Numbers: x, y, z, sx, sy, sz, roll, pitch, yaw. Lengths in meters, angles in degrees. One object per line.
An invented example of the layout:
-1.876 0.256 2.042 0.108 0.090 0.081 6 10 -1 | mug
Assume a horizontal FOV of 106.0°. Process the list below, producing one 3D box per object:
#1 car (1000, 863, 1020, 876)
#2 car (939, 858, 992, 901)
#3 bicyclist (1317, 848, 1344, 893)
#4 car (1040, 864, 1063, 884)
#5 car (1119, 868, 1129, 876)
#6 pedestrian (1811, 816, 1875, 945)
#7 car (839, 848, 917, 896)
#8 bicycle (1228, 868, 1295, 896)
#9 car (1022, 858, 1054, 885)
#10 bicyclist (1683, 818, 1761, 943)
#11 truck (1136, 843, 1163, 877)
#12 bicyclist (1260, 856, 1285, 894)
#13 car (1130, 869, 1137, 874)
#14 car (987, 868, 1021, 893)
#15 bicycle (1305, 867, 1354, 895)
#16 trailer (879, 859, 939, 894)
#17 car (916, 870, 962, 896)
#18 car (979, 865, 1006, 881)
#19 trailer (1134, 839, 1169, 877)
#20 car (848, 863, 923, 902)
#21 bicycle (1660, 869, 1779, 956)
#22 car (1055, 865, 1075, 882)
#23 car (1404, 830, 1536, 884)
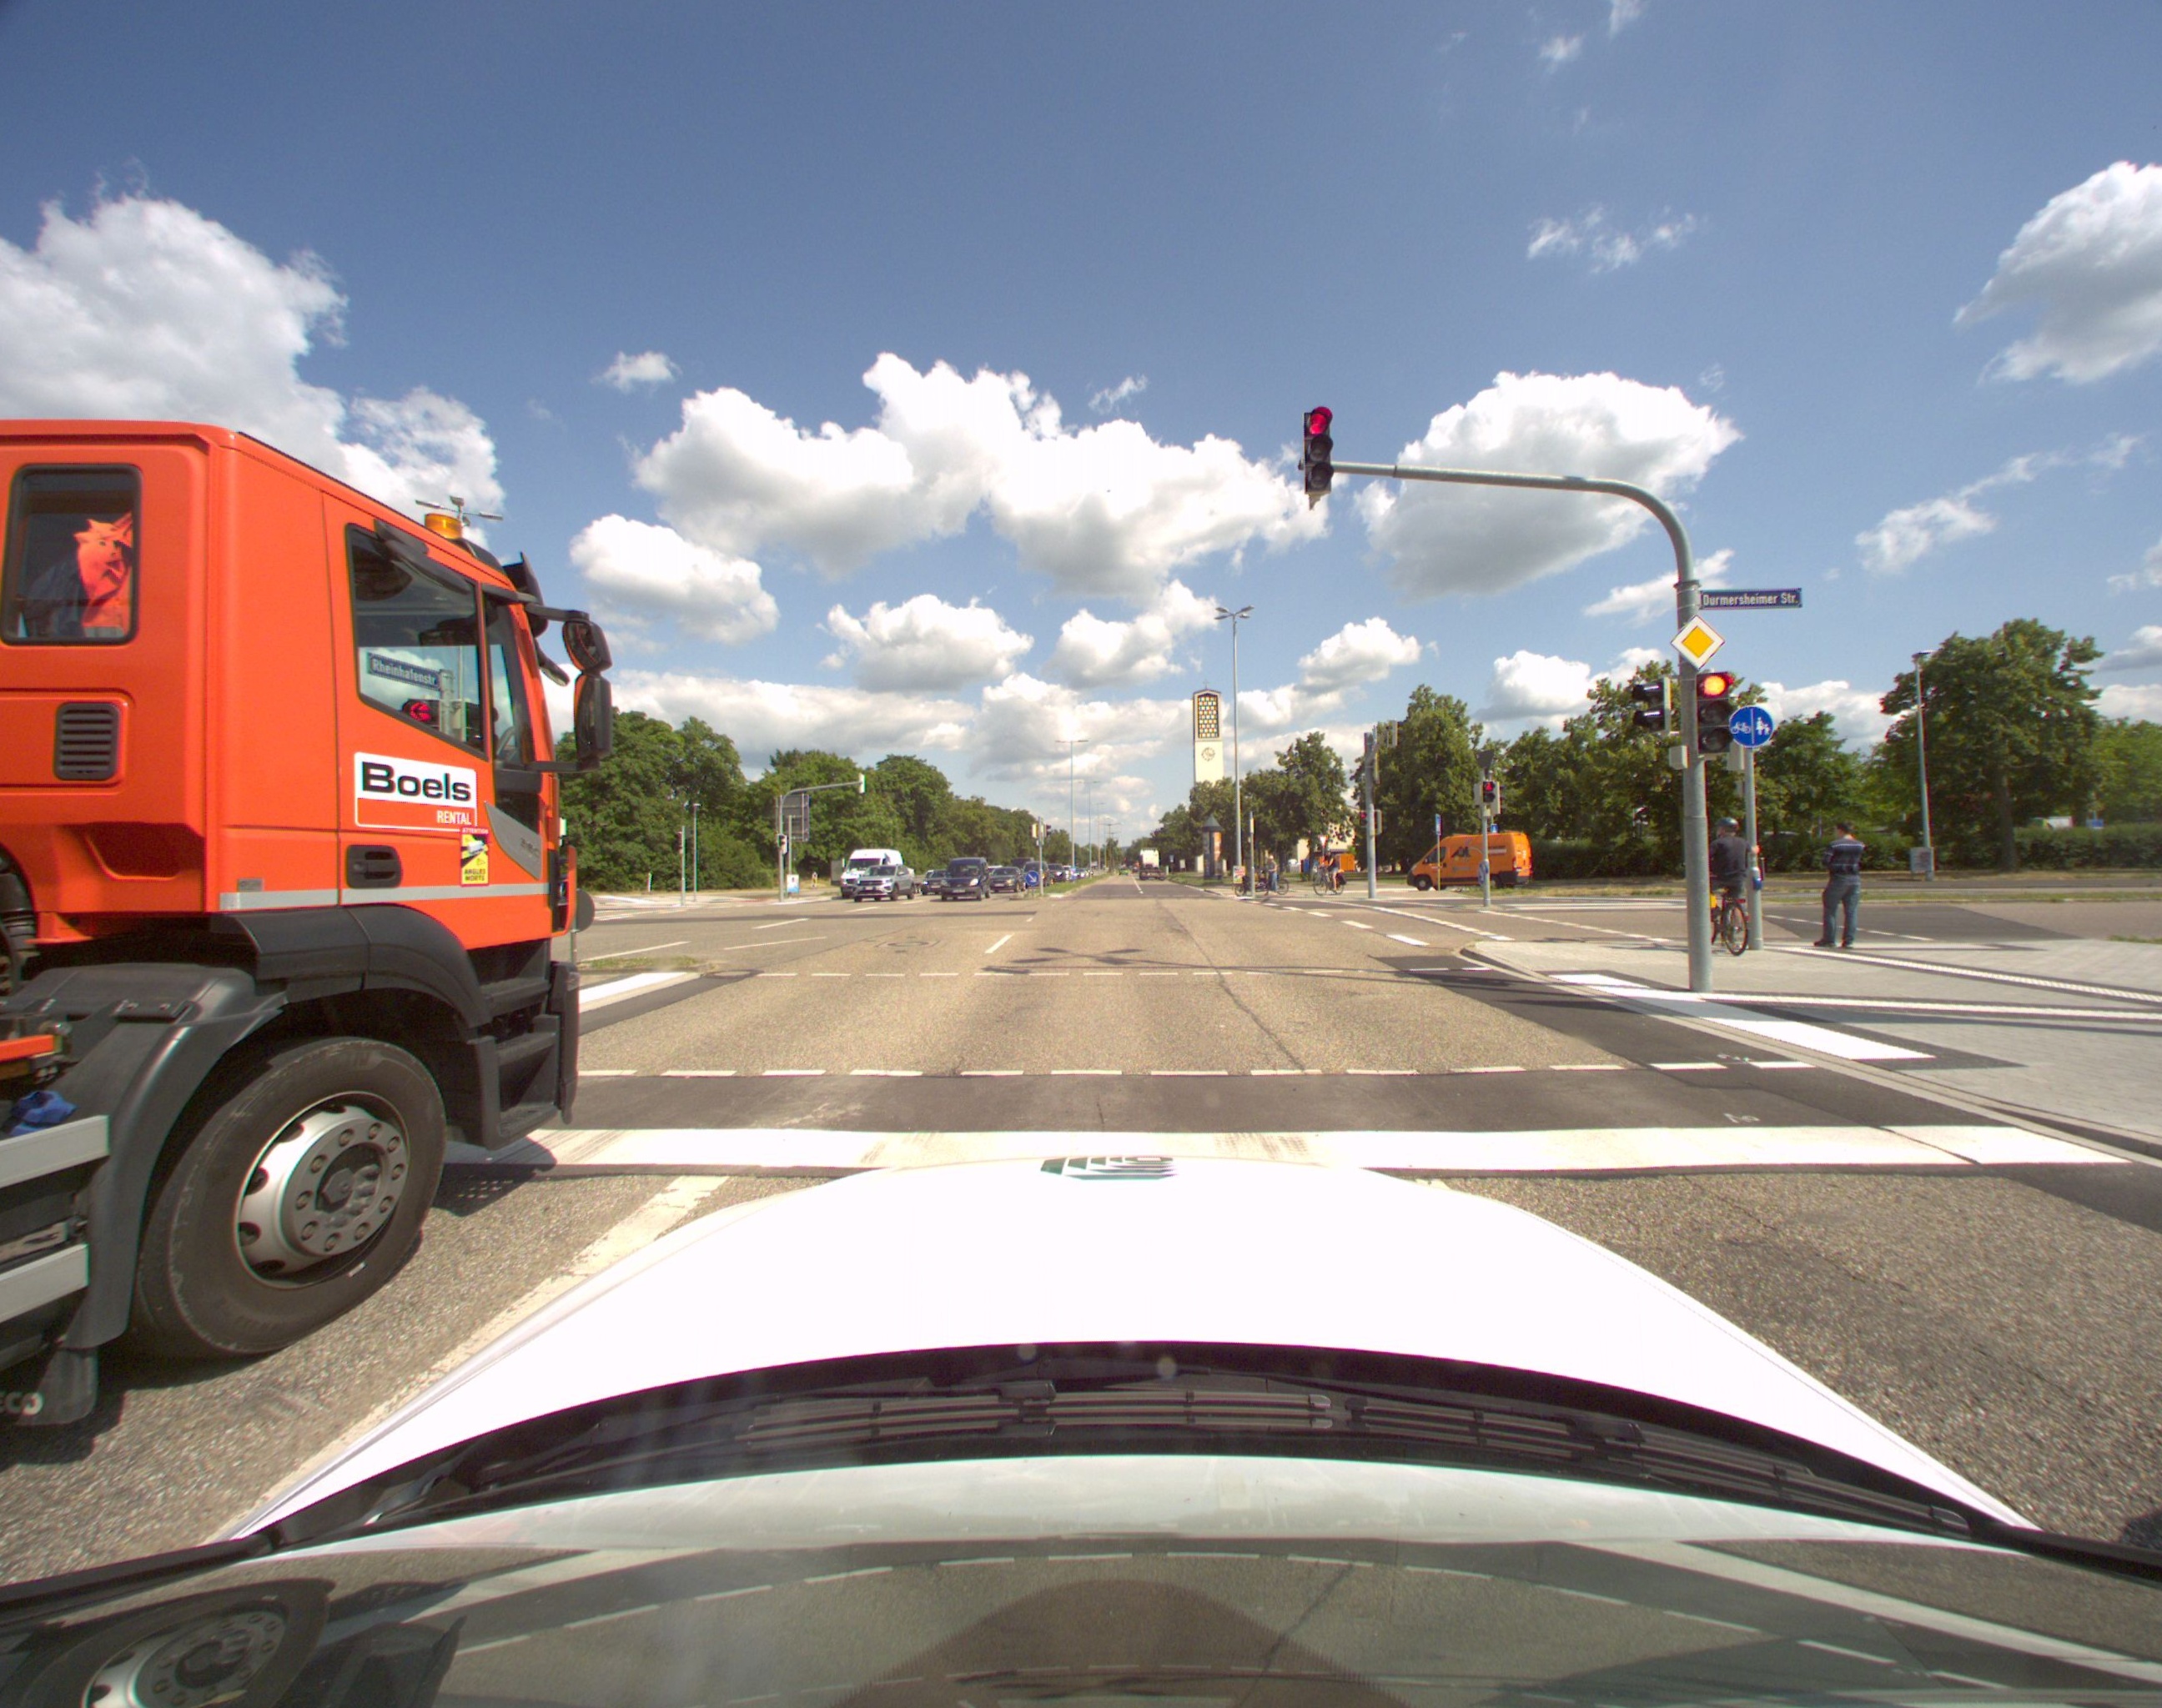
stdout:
-6.864 1.487 79.232 1.542 1.217 3.491 1 -1 2 | car
-4.734 1.045 33.881 1.730 1.660 4.226 1 -1 -3 | car
10.233 0.679 33.439 0.791 1.804 0.679 0 -1 -28 | bicyclist
-2.528 1.715 70.746 1.728 1.660 4.232 1 -1 2 | car
8.769 3.633 165.644 1.986 1.552 4.001 1 -1 2 | car
10.752 0.370 11.503 0.461 1.779 0.483 1 -1 11 | pedestrian
-11.104 0.975 45.089 2.163 2.471 5.976 1 -1 6 | car
7.677 1.184 34.573 2.844 1.112 0.791 0 -1 -22 | bicycle
-2.827 1.126 54.638 1.728 1.660 4.233 1 0 2 | car
8.867 0.358 11.287 0.643 1.661 0.653 1 -1 16 | bicyclist
8.427 0.776 99.293 2.944 3.971 8.651 -1 -2 6 | truck
8.192 0.889 34.783 0.701 1.616 0.791 0 -1 -22 | bicyclist
16.584 5.431 256.140 1.986 1.552 4.001 1 -1 2 | car
-4.220 1.451 45.022 1.563 1.316 3.431 1 -1 0 | car
10.209 1.114 33.418 2.008 1.093 0.679 0 -1 -28 | bicycle
-10.590 1.383 50.589 2.114 2.014 5.169 1 -1 6 | trailer
-7.778 1.558 44.911 1.757 1.352 3.520 -1 -1 2 | car
-6.894 1.493 63.572 1.542 1.217 3.491 1 -1 2 | car
8.010 0.565 91.319 3.602 4.012 11.336 -1 -2 6 | trailer
-8.295 1.207 34.974 1.726 1.543 4.316 1 -1 6 | car
8.913 0.774 11.466 0.643 1.108 1.936 1 -1 16 | bicycle
-1.625 1.944 82.416 1.727 1.660 4.233 1 -1 3 | car
17.085 0.156 35.928 4.799 2.226 2.224 0 -2 45 | car
